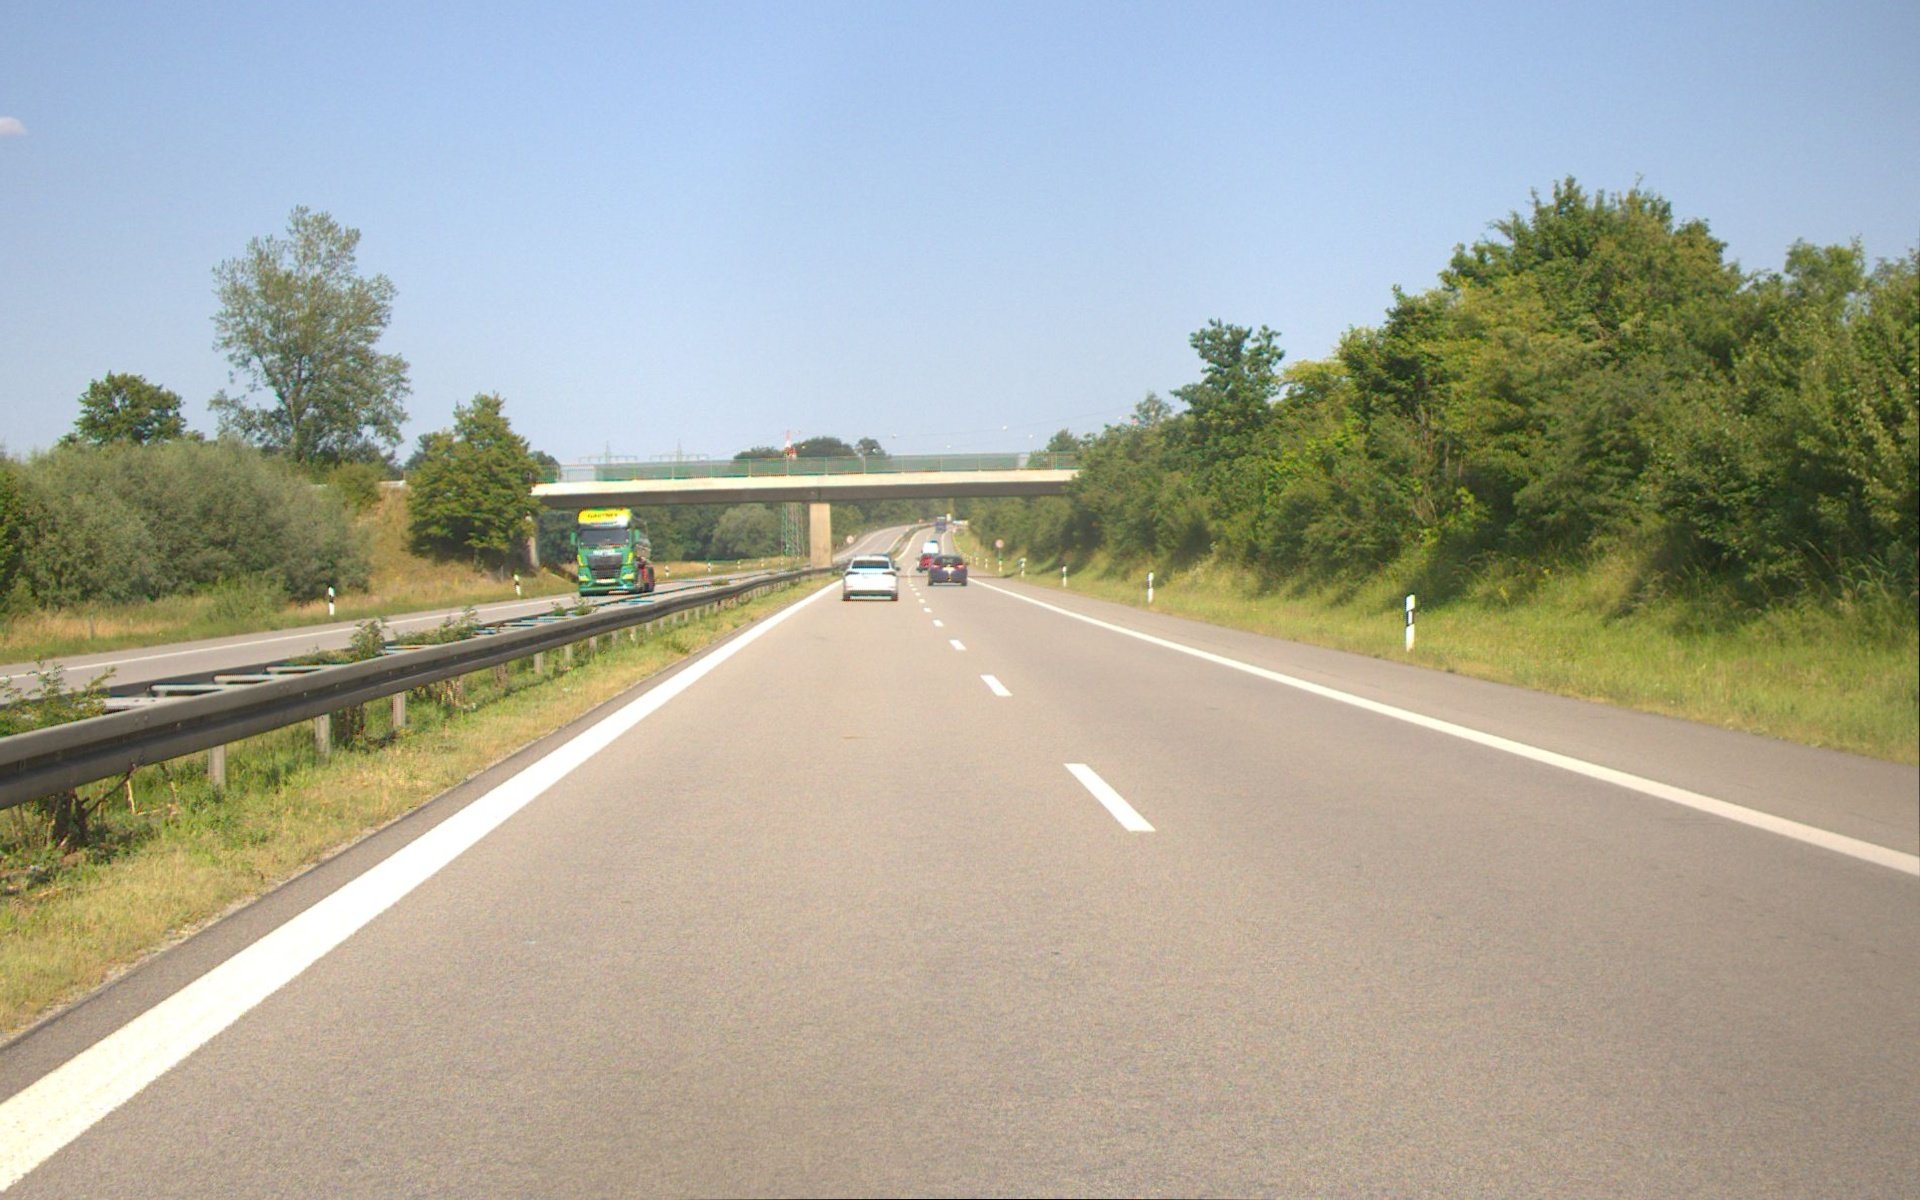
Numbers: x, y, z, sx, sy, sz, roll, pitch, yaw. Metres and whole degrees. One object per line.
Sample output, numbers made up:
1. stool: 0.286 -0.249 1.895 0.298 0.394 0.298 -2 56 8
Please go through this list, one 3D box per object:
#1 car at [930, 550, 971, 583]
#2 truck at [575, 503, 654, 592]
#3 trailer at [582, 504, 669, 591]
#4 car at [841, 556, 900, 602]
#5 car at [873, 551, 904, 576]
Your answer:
1. car: -0.451 -1.587 163.649 1.843 1.515 4.000 1 1 -1
2. truck: -15.072 -2.281 150.319 2.955 3.718 5.569 -1 1 -2
3. trailer: -15.213 -2.375 157.127 2.980 3.718 12.421 -1 1 -1
4. car: -2.878 -0.685 110.878 1.843 1.411 4.000 1 1 -1
5. car: -4.385 -2.221 209.500 1.843 1.431 4.000 1 1 -1
